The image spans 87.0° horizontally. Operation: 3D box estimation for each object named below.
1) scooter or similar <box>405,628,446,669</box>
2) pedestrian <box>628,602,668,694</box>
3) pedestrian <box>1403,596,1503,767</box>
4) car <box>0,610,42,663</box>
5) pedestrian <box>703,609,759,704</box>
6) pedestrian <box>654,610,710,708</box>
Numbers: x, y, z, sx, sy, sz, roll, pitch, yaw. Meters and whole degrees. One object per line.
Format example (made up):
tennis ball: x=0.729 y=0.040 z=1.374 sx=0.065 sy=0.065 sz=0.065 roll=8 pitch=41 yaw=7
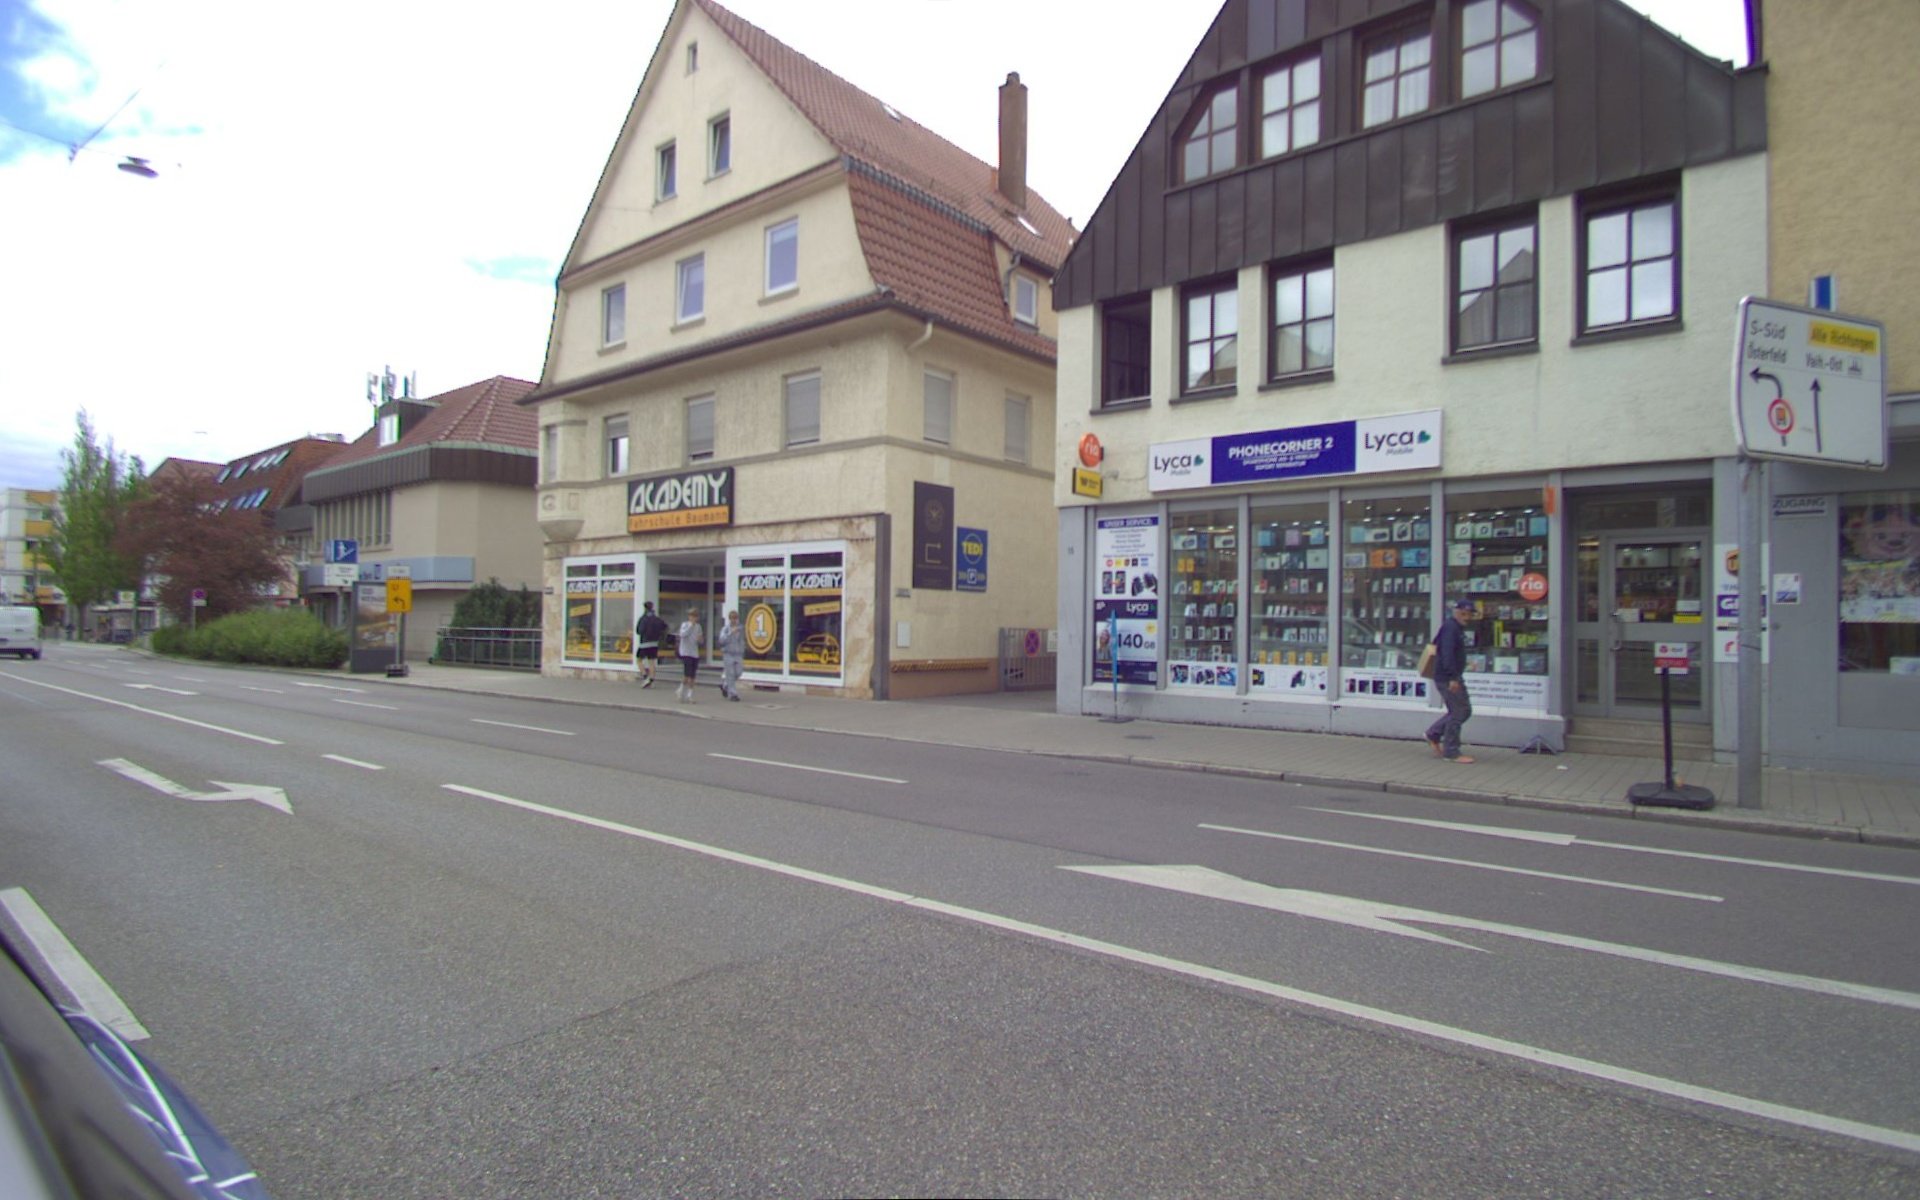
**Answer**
scooter or similar: x=-18.739 y=1.698 z=35.487 sx=0.536 sy=1.404 sz=1.182 roll=-1 pitch=-2 yaw=25
pedestrian: x=-6.608 y=1.007 z=21.457 sx=0.592 sy=1.903 sz=0.544 roll=-1 pitch=-1 yaw=37
pedestrian: x=5.243 y=0.830 z=10.763 sx=0.775 sy=1.726 sz=0.680 roll=-1 pitch=-1 yaw=41
car: x=-36.893 y=1.388 z=38.804 sx=4.318 sy=1.924 sz=1.932 roll=-1 pitch=-2 yaw=40
pedestrian: x=-4.211 y=1.016 z=18.599 sx=0.709 sy=1.683 sz=0.681 roll=-2 pitch=0 yaw=41
pedestrian: x=-4.989 y=1.042 z=18.158 sx=0.742 sy=1.703 sz=0.680 roll=-2 pitch=-1 yaw=41
